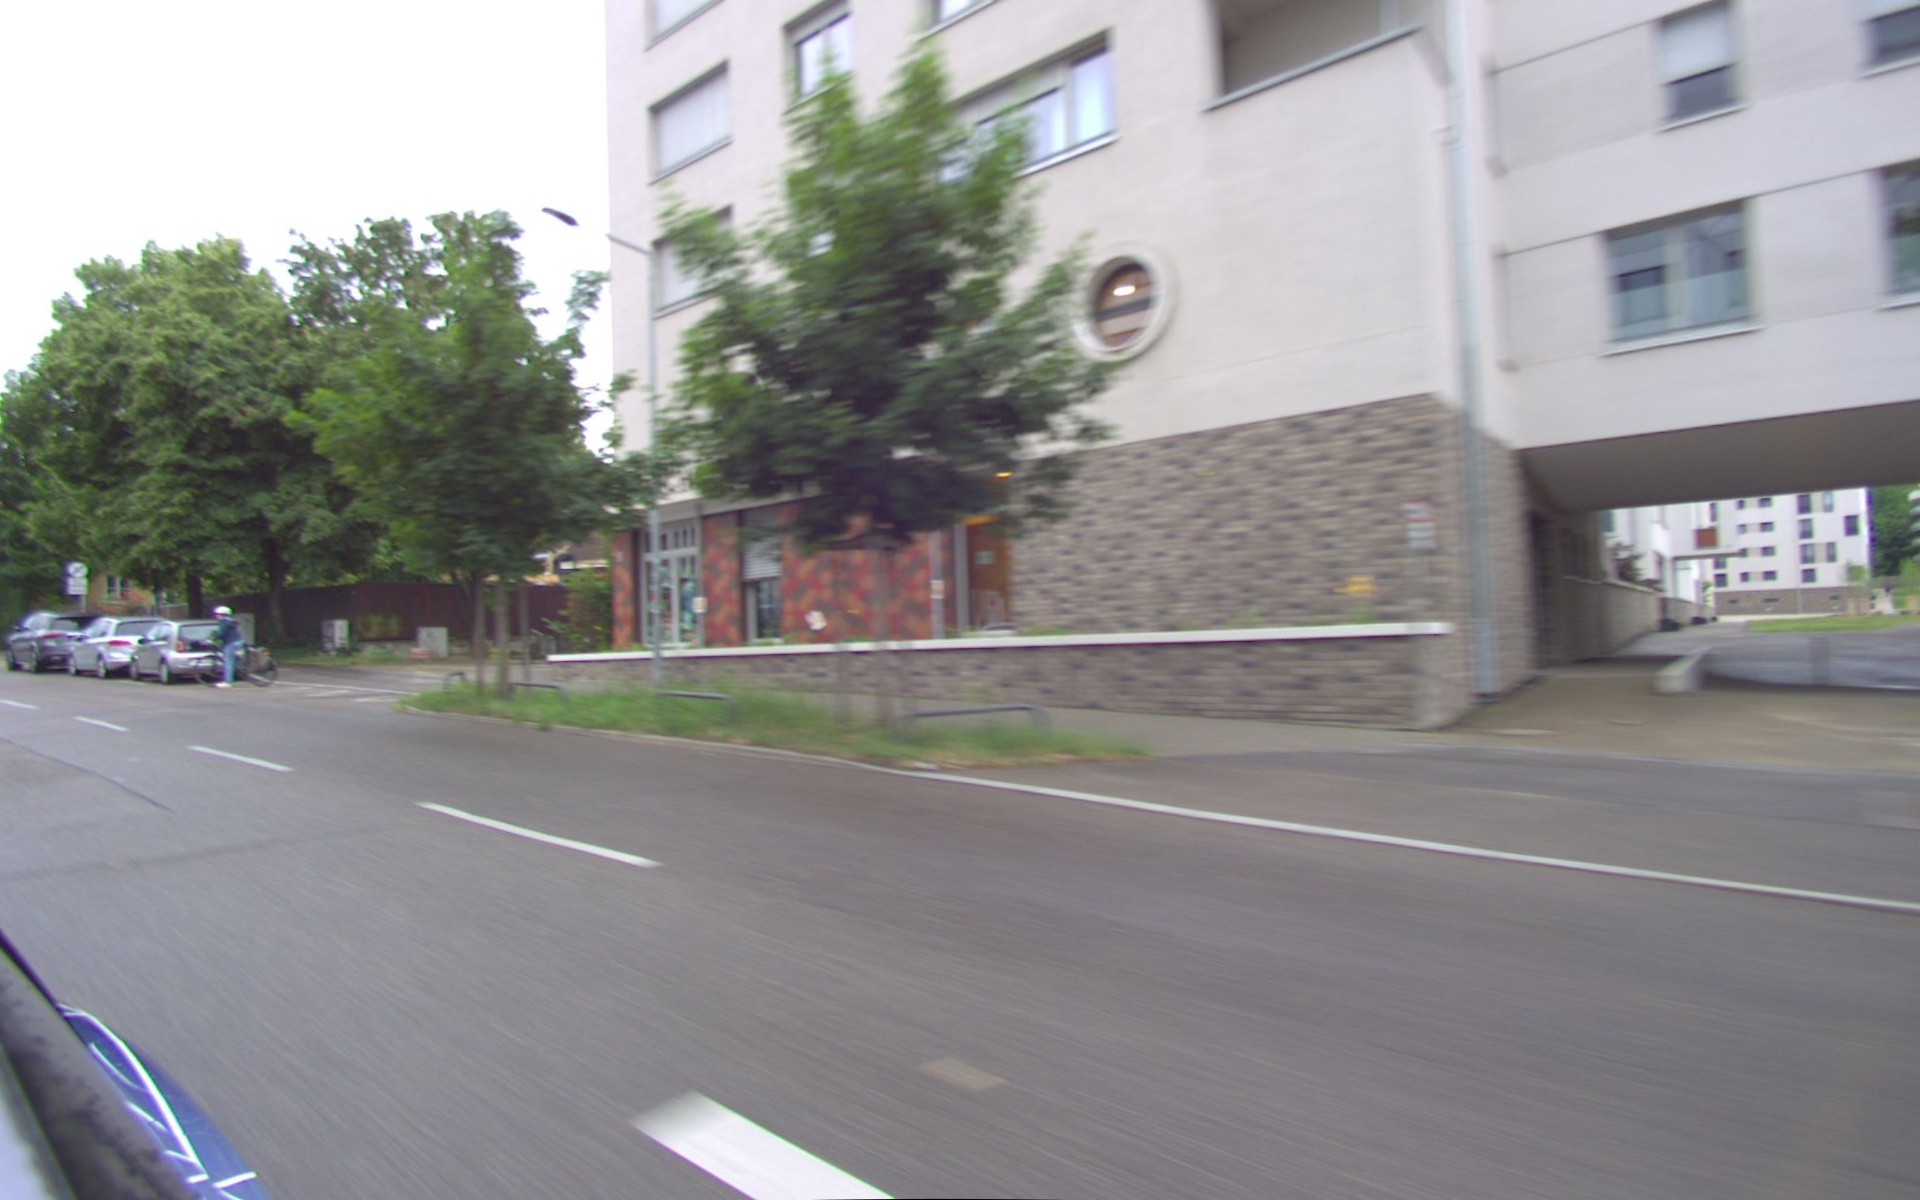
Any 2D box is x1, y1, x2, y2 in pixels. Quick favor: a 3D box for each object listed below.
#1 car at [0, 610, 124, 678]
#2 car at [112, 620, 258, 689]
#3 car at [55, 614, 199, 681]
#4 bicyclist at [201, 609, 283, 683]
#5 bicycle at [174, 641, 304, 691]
[{"bbox_3d":[-26.956,1.254,30.149,5.402,1.800,1.975,-1,0,37],"label":"car"},{"bbox_3d":[-18.792,1.264,24.496,3.841,1.474,1.862,-1,0,37],"label":"car"},{"bbox_3d":[-22.385,1.213,27.146,4.481,1.605,1.972,-1,0,37],"label":"car"},{"bbox_3d":[-15.585,0.989,21.986,1.184,1.534,0.804,-1,0,-3],"label":"bicyclist"},{"bbox_3d":[-15.640,1.426,21.984,2.221,0.986,0.805,-1,0,-2],"label":"bicycle"}]
